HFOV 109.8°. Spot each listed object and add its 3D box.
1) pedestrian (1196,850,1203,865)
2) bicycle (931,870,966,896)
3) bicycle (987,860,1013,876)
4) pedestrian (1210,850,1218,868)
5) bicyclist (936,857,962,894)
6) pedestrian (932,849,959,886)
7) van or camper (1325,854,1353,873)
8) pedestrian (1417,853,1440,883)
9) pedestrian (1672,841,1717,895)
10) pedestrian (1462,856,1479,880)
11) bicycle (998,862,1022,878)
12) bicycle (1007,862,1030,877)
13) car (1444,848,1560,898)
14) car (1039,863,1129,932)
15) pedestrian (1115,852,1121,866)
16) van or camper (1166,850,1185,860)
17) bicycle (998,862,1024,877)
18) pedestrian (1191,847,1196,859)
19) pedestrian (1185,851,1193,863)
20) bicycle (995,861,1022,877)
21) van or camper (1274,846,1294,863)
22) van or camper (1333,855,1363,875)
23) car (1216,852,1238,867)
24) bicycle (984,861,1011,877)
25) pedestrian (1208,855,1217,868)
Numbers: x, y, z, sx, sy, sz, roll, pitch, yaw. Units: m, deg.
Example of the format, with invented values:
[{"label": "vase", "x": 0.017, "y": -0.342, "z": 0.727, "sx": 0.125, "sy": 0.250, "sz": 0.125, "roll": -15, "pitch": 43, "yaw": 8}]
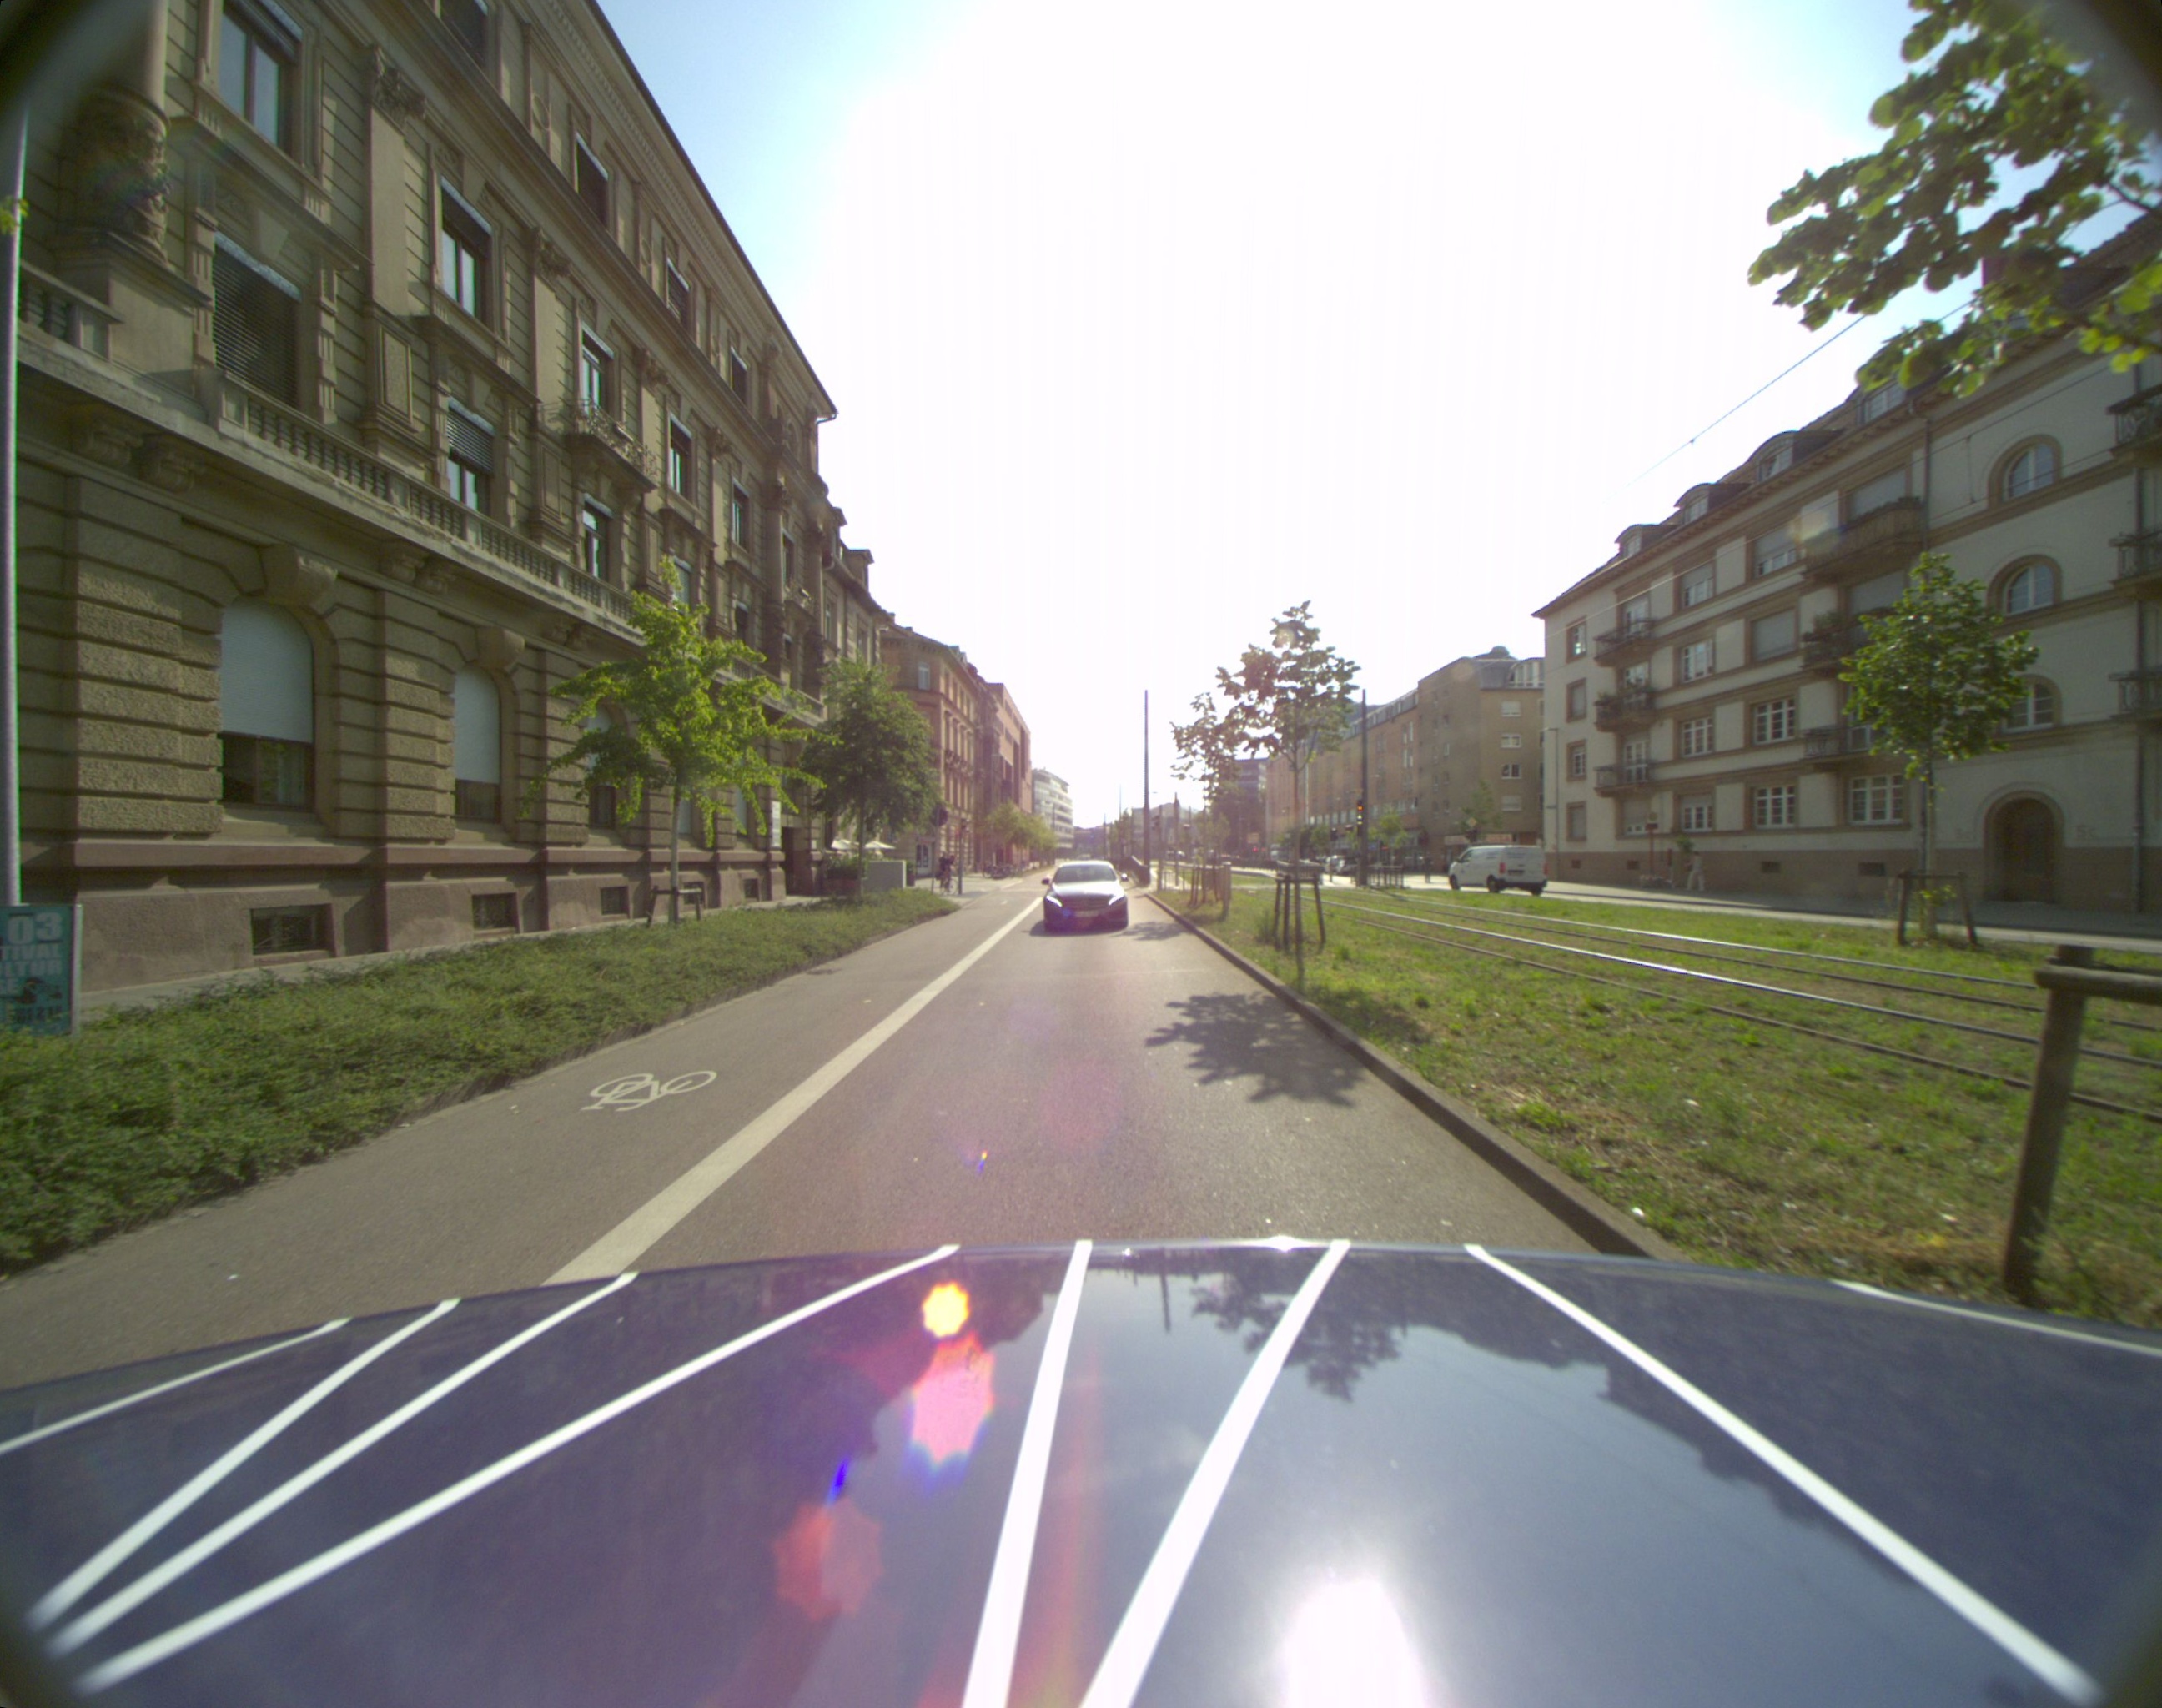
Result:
[{"label": "pedestrian", "x": 15.329, "y": 0.471, "z": 98.450, "sx": 0.807, "sy": 1.875, "sz": 0.555, "roll": 0, "pitch": 1, "yaw": 2}, {"label": "bicycle", "x": -5.459, "y": 1.170, "z": 31.154, "sx": 0.508, "sy": 0.948, "sz": 1.779, "roll": 1, "pitch": 1, "yaw": -43}, {"label": "bicycle", "x": -5.766, "y": 1.019, "z": 54.042, "sx": 1.756, "sy": 1.081, "sz": 0.583, "roll": 2, "pitch": 0, "yaw": 4}, {"label": "pedestrian", "x": 14.125, "y": 0.502, "z": 80.689, "sx": 0.741, "sy": 1.861, "sz": 0.939, "roll": 0, "pitch": 1, "yaw": 0}, {"label": "bicyclist", "x": -5.403, "y": 0.878, "z": 31.082, "sx": 0.587, "sy": 1.474, "sz": 0.928, "roll": 1, "pitch": 2, "yaw": -43}, {"label": "pedestrian", "x": -6.715, "y": 0.660, "z": 37.561, "sx": 0.995, "sy": 1.795, "sz": 0.862, "roll": 2, "pitch": -2, "yaw": -37}, {"label": "van or camper", "x": 27.676, "y": 1.044, "z": 81.737, "sx": 1.997, "sy": 2.002, "sz": 4.002, "roll": 0, "pitch": 0, "yaw": 6}, {"label": "pedestrian", "x": 21.875, "y": 0.854, "z": 47.846, "sx": 1.073, "sy": 1.857, "sz": 0.862, "roll": -1, "pitch": 1, "yaw": -26}, {"label": "pedestrian", "x": 23.951, "y": 0.529, "z": 29.682, "sx": 0.844, "sy": 2.056, "sz": 1.157, "roll": -1, "pitch": 0, "yaw": 2}, {"label": "pedestrian", "x": 26.104, "y": 0.956, "z": 50.897, "sx": 0.680, "sy": 1.574, "sz": 0.807, "roll": 0, "pitch": 0, "yaw": -2}, {"label": "bicycle", "x": -5.384, "y": 1.211, "z": 57.798, "sx": 1.761, "sy": 1.081, "sz": 0.657, "roll": 3, "pitch": 0, "yaw": -8}, {"label": "bicycle", "x": -4.892, "y": 1.240, "z": 59.355, "sx": 1.761, "sy": 1.081, "sz": 0.610, "roll": 3, "pitch": 0, "yaw": -8}, {"label": "car", "x": 16.899, "y": 0.715, "z": 30.871, "sx": 1.998, "sy": 1.884, "sz": 5.047, "roll": 0, "pitch": 0, "yaw": 1}, {"label": "car", "x": 0.096, "y": 0.969, "z": 18.575, "sx": 1.907, "sy": 1.384, "sz": 4.236, "roll": -1, "pitch": 0, "yaw": 1}, {"label": "pedestrian", "x": 4.629, "y": 0.601, "z": 95.946, "sx": 0.675, "sy": 1.747, "sz": 0.727, "roll": -3, "pitch": 1, "yaw": 0}, {"label": "van or camper", "x": 21.038, "y": 0.263, "z": 169.317, "sx": 3.974, "sy": 2.198, "sz": 1.939, "roll": 0, "pitch": 0, "yaw": 43}, {"label": "bicycle", "x": -5.222, "y": 1.162, "z": 56.730, "sx": 1.763, "sy": 1.081, "sz": 0.671, "roll": 3, "pitch": 0, "yaw": -22}, {"label": "pedestrian", "x": 16.924, "y": -0.119, "z": 114.247, "sx": 0.652, "sy": 1.750, "sz": 0.698, "roll": -3, "pitch": 1, "yaw": 2}, {"label": "pedestrian", "x": 15.429, "y": 0.390, "z": 108.649, "sx": 0.787, "sy": 1.736, "sz": 0.833, "roll": 1, "pitch": 1, "yaw": -35}, {"label": "bicycle", "x": -5.260, "y": 1.084, "z": 55.312, "sx": 1.758, "sy": 1.081, "sz": 0.669, "roll": 3, "pitch": 0, "yaw": 6}, {"label": "van or camper", "x": 33.556, "y": 0.046, "z": 125.883, "sx": 1.998, "sy": 2.785, "sz": 5.353, "roll": 0, "pitch": 0, "yaw": 1}, {"label": "van or camper", "x": 26.779, "y": 1.033, "z": 76.260, "sx": 1.934, "sy": 1.956, "sz": 4.002, "roll": 0, "pitch": 0, "yaw": 5}, {"label": "car", "x": 19.346, "y": 0.744, "z": 100.924, "sx": 1.998, "sy": 2.002, "sz": 4.932, "roll": 0, "pitch": 0, "yaw": 0}, {"label": "bicycle", "x": -5.859, "y": 1.028, "z": 53.443, "sx": 1.756, "sy": 1.081, "sz": 0.583, "roll": 2, "pitch": 0, "yaw": 4}, {"label": "pedestrian", "x": 15.569, "y": 0.884, "z": 90.073, "sx": 0.679, "sy": 1.522, "sz": 0.810, "roll": 0, "pitch": 1, "yaw": -30}]
